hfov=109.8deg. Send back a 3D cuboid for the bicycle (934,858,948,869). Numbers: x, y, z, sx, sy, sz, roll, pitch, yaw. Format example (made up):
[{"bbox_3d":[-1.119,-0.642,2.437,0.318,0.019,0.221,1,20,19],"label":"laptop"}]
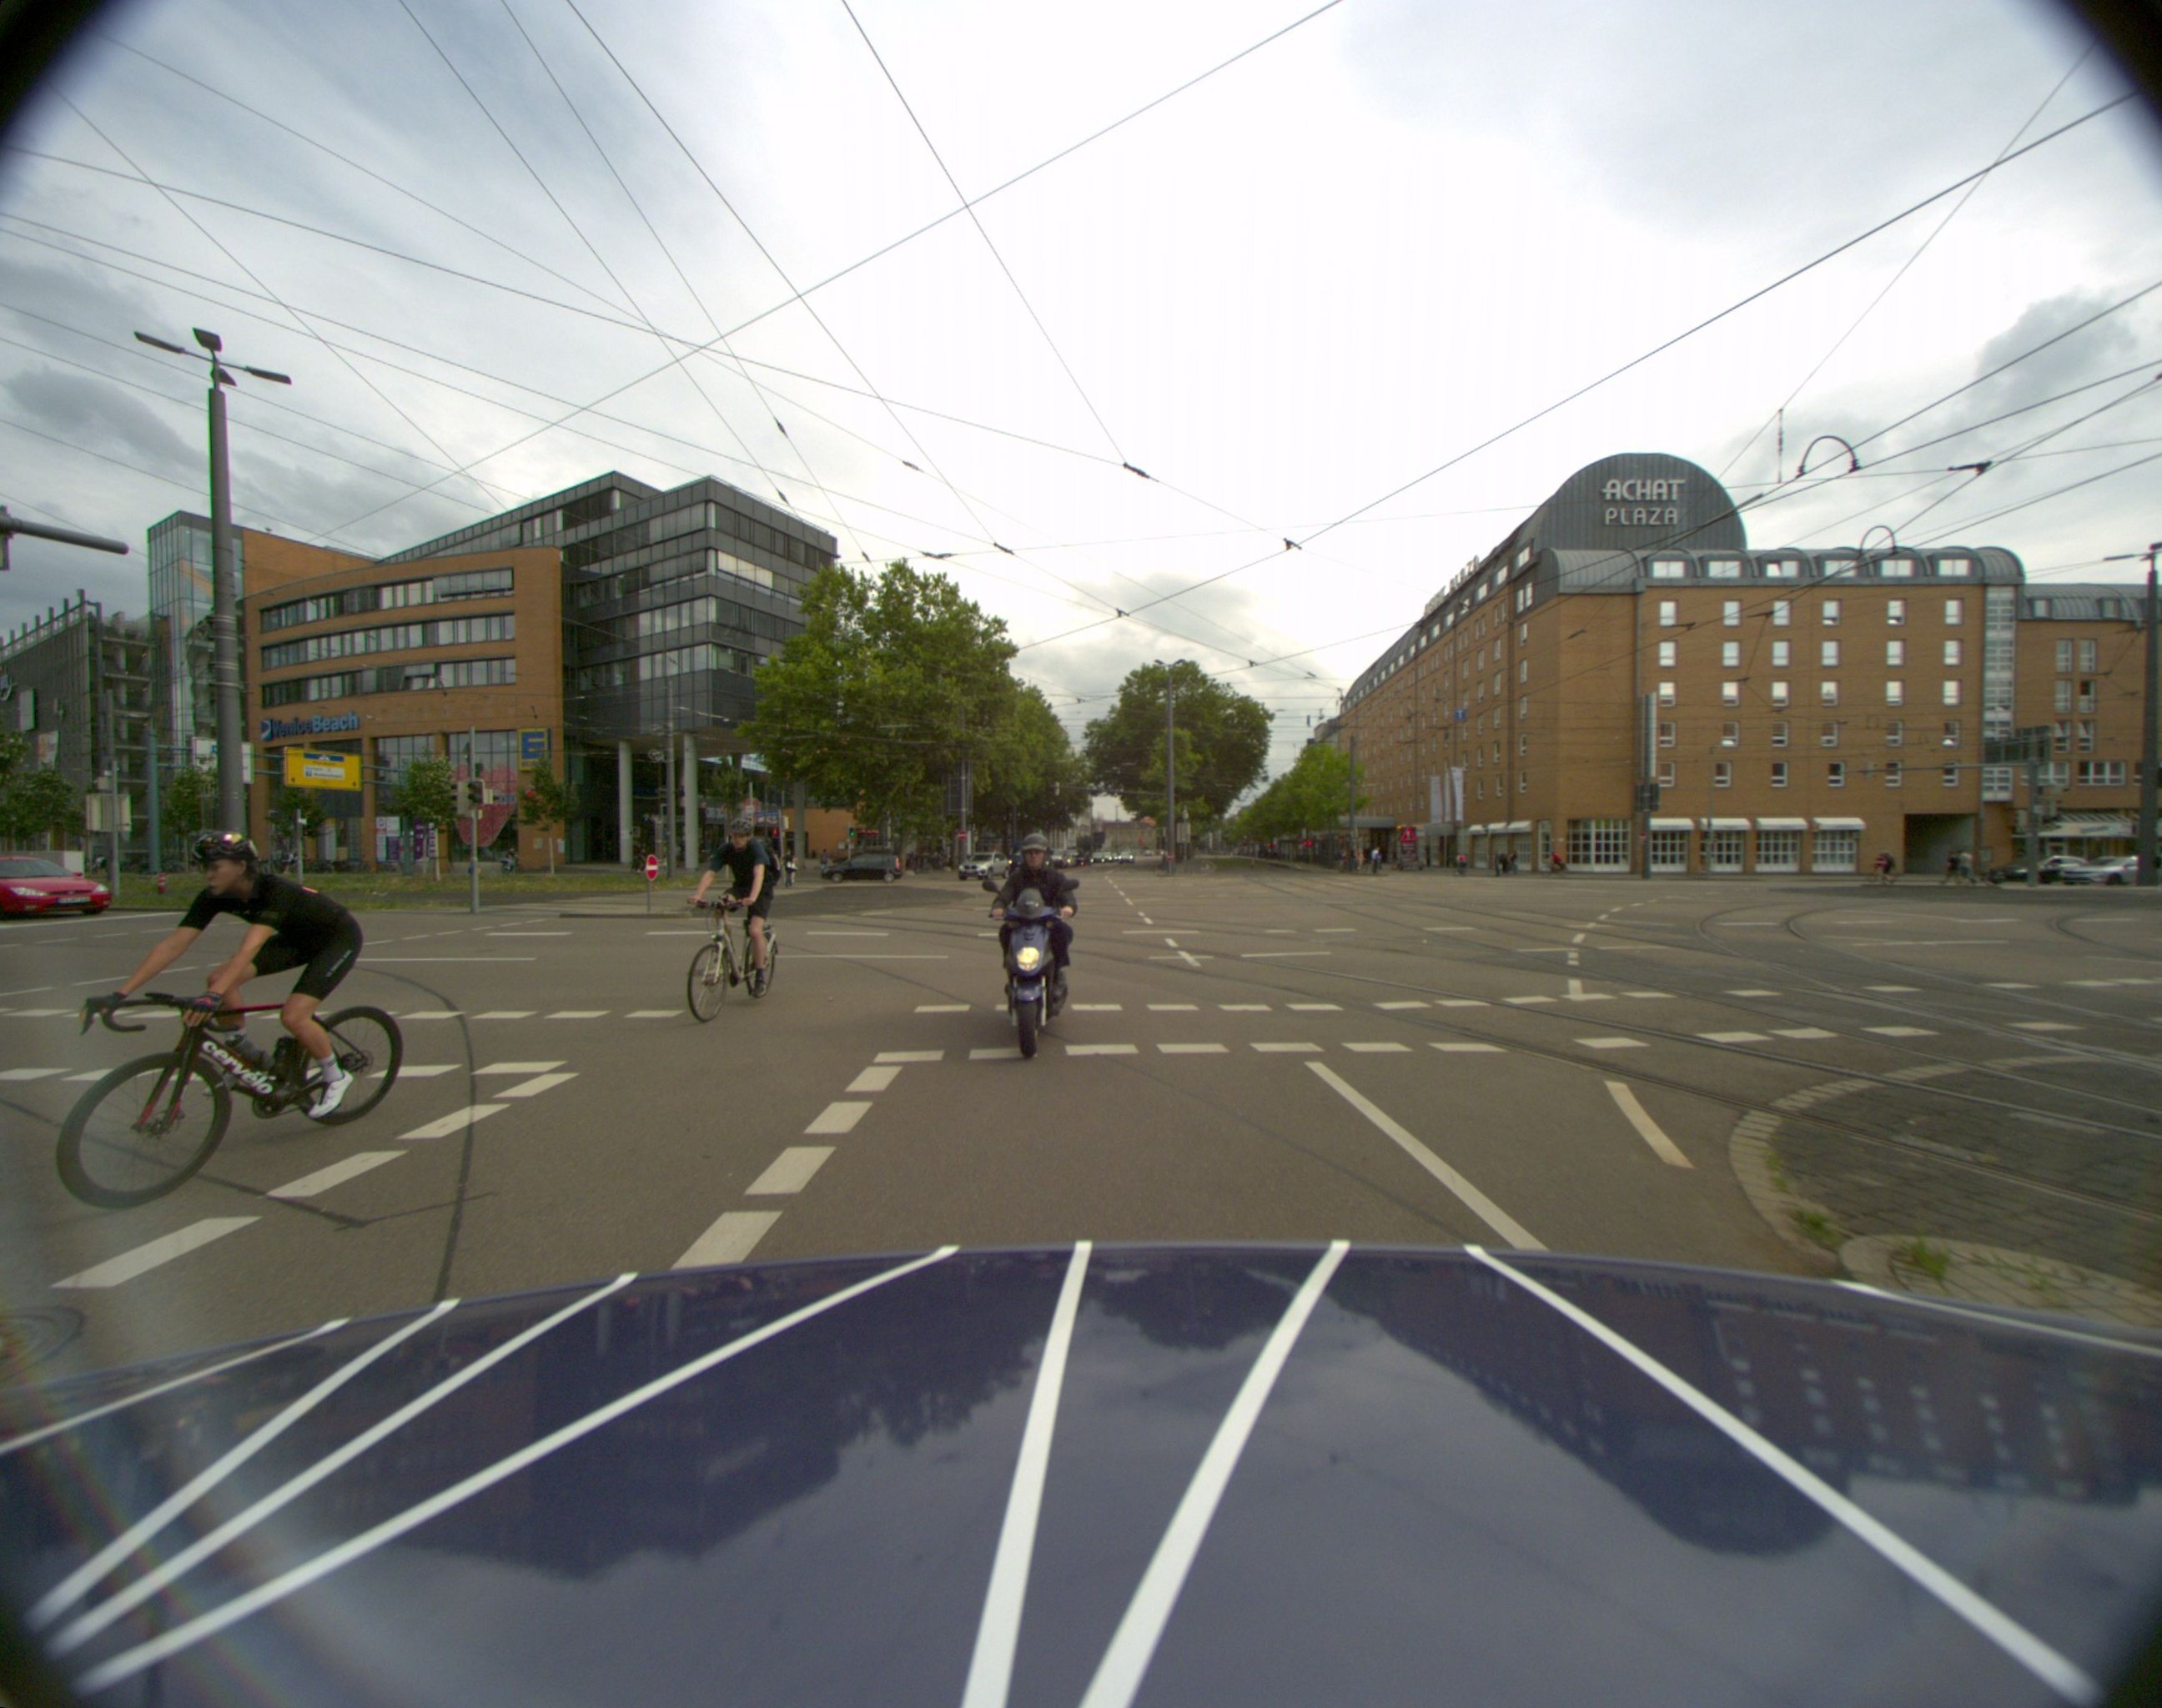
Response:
[{"bbox_3d":[-12.176,0.811,66.233,0.535,0.911,1.724,0,1,12],"label":"bicycle"}]

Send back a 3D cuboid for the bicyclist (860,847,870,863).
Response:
[{"bbox_3d":[-19.192,0.069,67.620,0.531,1.424,0.739,0,2,12],"label":"bicyclist"}]

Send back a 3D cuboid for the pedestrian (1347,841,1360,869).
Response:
[{"bbox_3d":[18.777,0.079,52.312,0.693,1.941,0.534,0,2,0],"label":"pedestrian"}]

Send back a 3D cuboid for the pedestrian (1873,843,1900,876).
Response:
[{"bbox_3d":[41.698,0.285,39.336,0.578,1.722,0.750,0,1,-5],"label":"pedestrian"}]

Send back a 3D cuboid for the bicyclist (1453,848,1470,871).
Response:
[{"bbox_3d":[25.003,0.355,49.936,0.651,1.493,0.817,0,2,-3],"label":"bicyclist"}]

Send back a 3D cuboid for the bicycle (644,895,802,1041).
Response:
[{"bbox_3d":[-3.390,1.025,7.400,0.595,1.132,1.858,0,1,2],"label":"bicycle"}]

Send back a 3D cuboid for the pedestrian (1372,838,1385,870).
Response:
[{"bbox_3d":[19.619,0.001,50.098,0.564,2.118,0.534,0,2,-7],"label":"pedestrian"}]

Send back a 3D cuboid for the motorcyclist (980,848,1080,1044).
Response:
[{"bbox_3d":[-0.396,0.708,6.371,0.761,1.510,1.017,0,2,0],"label":"motorcyclist"}]

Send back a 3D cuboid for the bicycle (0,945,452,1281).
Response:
[{"bbox_3d":[-4.296,1.148,3.925,0.595,1.132,1.734,0,1,2],"label":"bicycle"}]

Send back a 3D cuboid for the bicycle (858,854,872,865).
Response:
[{"bbox_3d":[-19.184,0.510,67.639,0.535,0.911,1.542,0,1,12],"label":"bicycle"}]

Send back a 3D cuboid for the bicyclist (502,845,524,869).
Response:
[{"bbox_3d":[-38.552,0.216,51.587,0.977,1.607,0.638,0,2,9],"label":"bicyclist"}]

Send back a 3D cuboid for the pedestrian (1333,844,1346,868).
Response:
[{"bbox_3d":[18.511,0.147,54.441,0.684,1.696,0.534,0,2,-7],"label":"pedestrian"}]

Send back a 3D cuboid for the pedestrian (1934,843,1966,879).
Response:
[{"bbox_3d":[41.356,0.320,36.164,0.578,1.722,0.750,0,2,-5],"label":"pedestrian"}]

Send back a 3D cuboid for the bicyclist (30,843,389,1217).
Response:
[{"bbox_3d":[-4.300,0.770,3.855,0.591,1.644,1.035,0,1,2],"label":"bicyclist"}]

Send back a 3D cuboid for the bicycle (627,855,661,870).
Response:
[{"bbox_3d":[-29.008,0.547,50.431,2.002,1.005,0.638,0,1,9],"label":"bicycle"}]

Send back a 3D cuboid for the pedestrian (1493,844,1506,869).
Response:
[{"bbox_3d":[28.530,0.158,51.823,0.563,1.696,0.535,0,2,2],"label":"pedestrian"}]

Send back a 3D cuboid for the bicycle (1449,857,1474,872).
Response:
[{"bbox_3d":[25.008,0.709,49.989,0.659,0.931,1.892,0,1,-3],"label":"bicycle"}]

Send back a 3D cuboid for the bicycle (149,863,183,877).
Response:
[{"bbox_3d":[-67.671,1.203,56.206,2.002,1.005,0.638,0,1,8],"label":"bicycle"}]

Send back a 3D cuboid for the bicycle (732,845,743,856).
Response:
[{"bbox_3d":[-29.211,-0.281,64.677,0.537,0.911,1.559,-1,2,-35],"label":"bicycle"}]

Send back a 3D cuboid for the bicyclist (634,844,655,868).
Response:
[{"bbox_3d":[-28.974,0.142,50.418,0.977,1.606,0.638,0,1,9],"label":"bicyclist"}]

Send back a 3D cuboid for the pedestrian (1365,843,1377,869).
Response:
[{"bbox_3d":[19.598,0.122,51.399,0.564,1.696,0.578,0,2,-7],"label":"pedestrian"}]

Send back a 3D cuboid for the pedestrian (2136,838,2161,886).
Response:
[{"bbox_3d":[39.232,0.296,27.657,0.578,1.722,0.751,0,2,0],"label":"pedestrian"}]

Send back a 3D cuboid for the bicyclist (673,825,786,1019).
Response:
[{"bbox_3d":[-3.391,0.613,7.419,0.591,1.760,1.035,0,1,2],"label":"bicyclist"}]

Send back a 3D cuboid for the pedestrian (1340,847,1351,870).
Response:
[{"bbox_3d":[19.529,0.302,56.114,0.564,1.696,0.534,0,2,-7],"label":"pedestrian"}]

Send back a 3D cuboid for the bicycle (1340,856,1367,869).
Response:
[{"bbox_3d":[18.886,0.581,52.621,1.710,0.884,0.499,0,2,4],"label":"bicycle"}]

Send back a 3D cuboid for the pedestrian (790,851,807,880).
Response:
[{"bbox_3d":[-16.132,0.651,43.350,0.587,1.642,0.744,0,2,10],"label":"pedestrian"}]

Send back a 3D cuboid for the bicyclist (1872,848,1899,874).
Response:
[{"bbox_3d":[46.745,0.417,44.139,0.865,1.493,0.636,0,2,-1],"label":"bicyclist"}]

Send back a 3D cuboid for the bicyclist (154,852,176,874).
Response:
[{"bbox_3d":[-67.760,0.679,56.204,0.977,1.606,0.638,0,1,9],"label":"bicyclist"}]

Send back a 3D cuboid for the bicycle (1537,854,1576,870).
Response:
[{"bbox_3d":[31.297,0.535,50.015,2.057,1.002,0.640,0,2,7],"label":"bicycle"}]

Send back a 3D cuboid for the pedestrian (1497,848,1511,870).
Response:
[{"bbox_3d":[30.352,0.348,54.500,0.536,1.498,0.648,-1,2,-33],"label":"pedestrian"}]

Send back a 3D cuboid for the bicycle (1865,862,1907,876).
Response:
[{"bbox_3d":[46.759,0.892,44.140,1.796,0.777,0.640,0,1,-1],"label":"bicycle"}]

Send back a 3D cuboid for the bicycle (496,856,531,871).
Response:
[{"bbox_3d":[-38.545,0.641,51.587,2.002,1.005,0.638,0,2,9],"label":"bicycle"}]

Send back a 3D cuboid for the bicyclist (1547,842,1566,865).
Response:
[{"bbox_3d":[31.295,-0.064,49.996,0.864,1.493,0.637,0,2,7],"label":"bicyclist"}]
